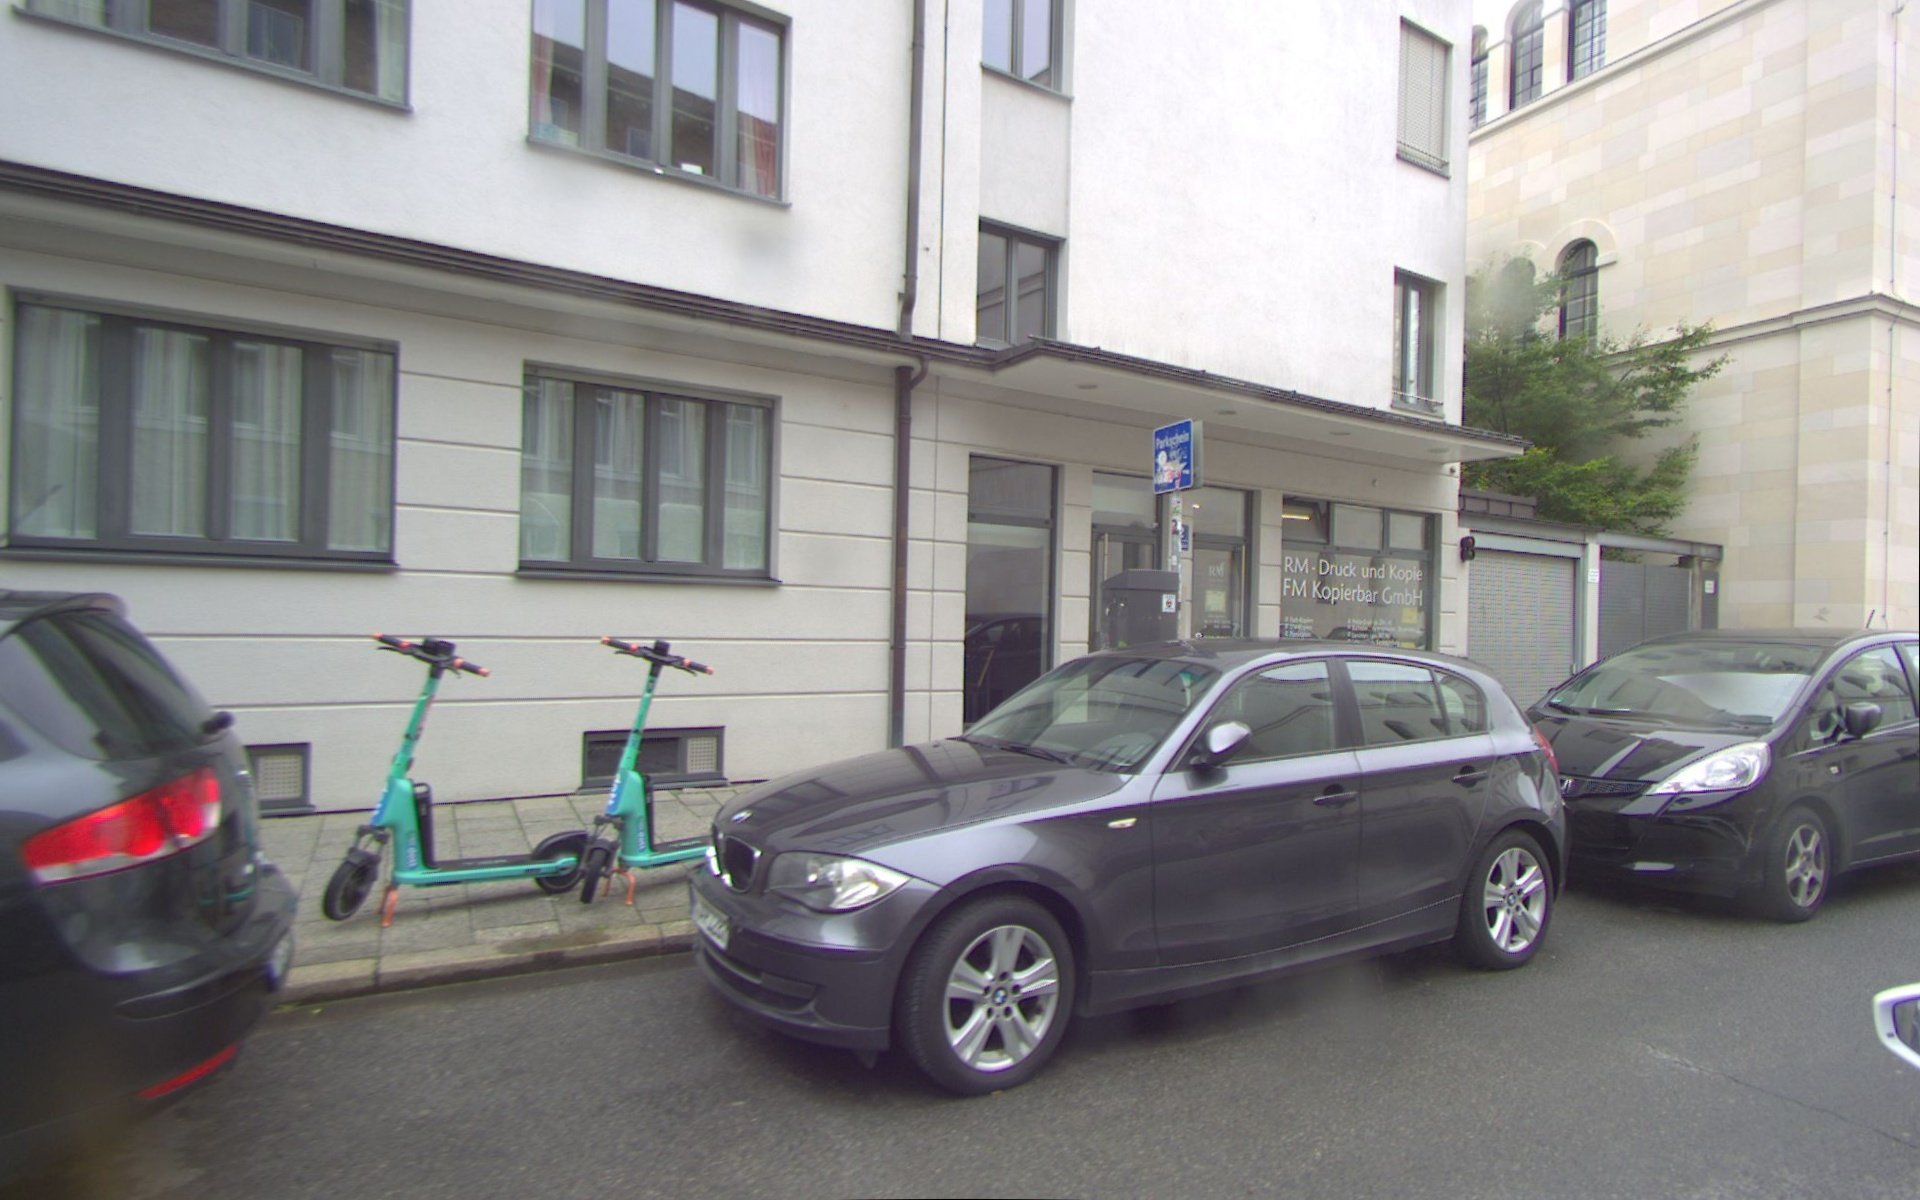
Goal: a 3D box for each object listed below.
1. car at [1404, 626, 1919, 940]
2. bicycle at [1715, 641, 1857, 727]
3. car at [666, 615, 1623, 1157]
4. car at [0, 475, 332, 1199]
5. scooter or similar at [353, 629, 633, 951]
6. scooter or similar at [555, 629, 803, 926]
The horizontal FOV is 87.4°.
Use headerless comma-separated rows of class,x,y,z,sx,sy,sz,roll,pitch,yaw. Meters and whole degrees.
car,4.946,0.901,6.380,3.961,1.472,1.745,1,-2,-26
bicycle,12.543,1.245,15.316,0.468,1.193,1.712,1,-1,-16
car,0.890,0.822,4.454,3.964,1.472,1.744,1,-2,-28
car,-3.680,0.591,2.019,4.033,1.680,1.863,1,-2,-31
scooter or similar,-2.049,0.821,4.446,1.097,1.373,0.226,1,-1,-1
scooter or similar,-1.329,0.832,4.810,1.097,1.373,0.226,1,-1,-1
